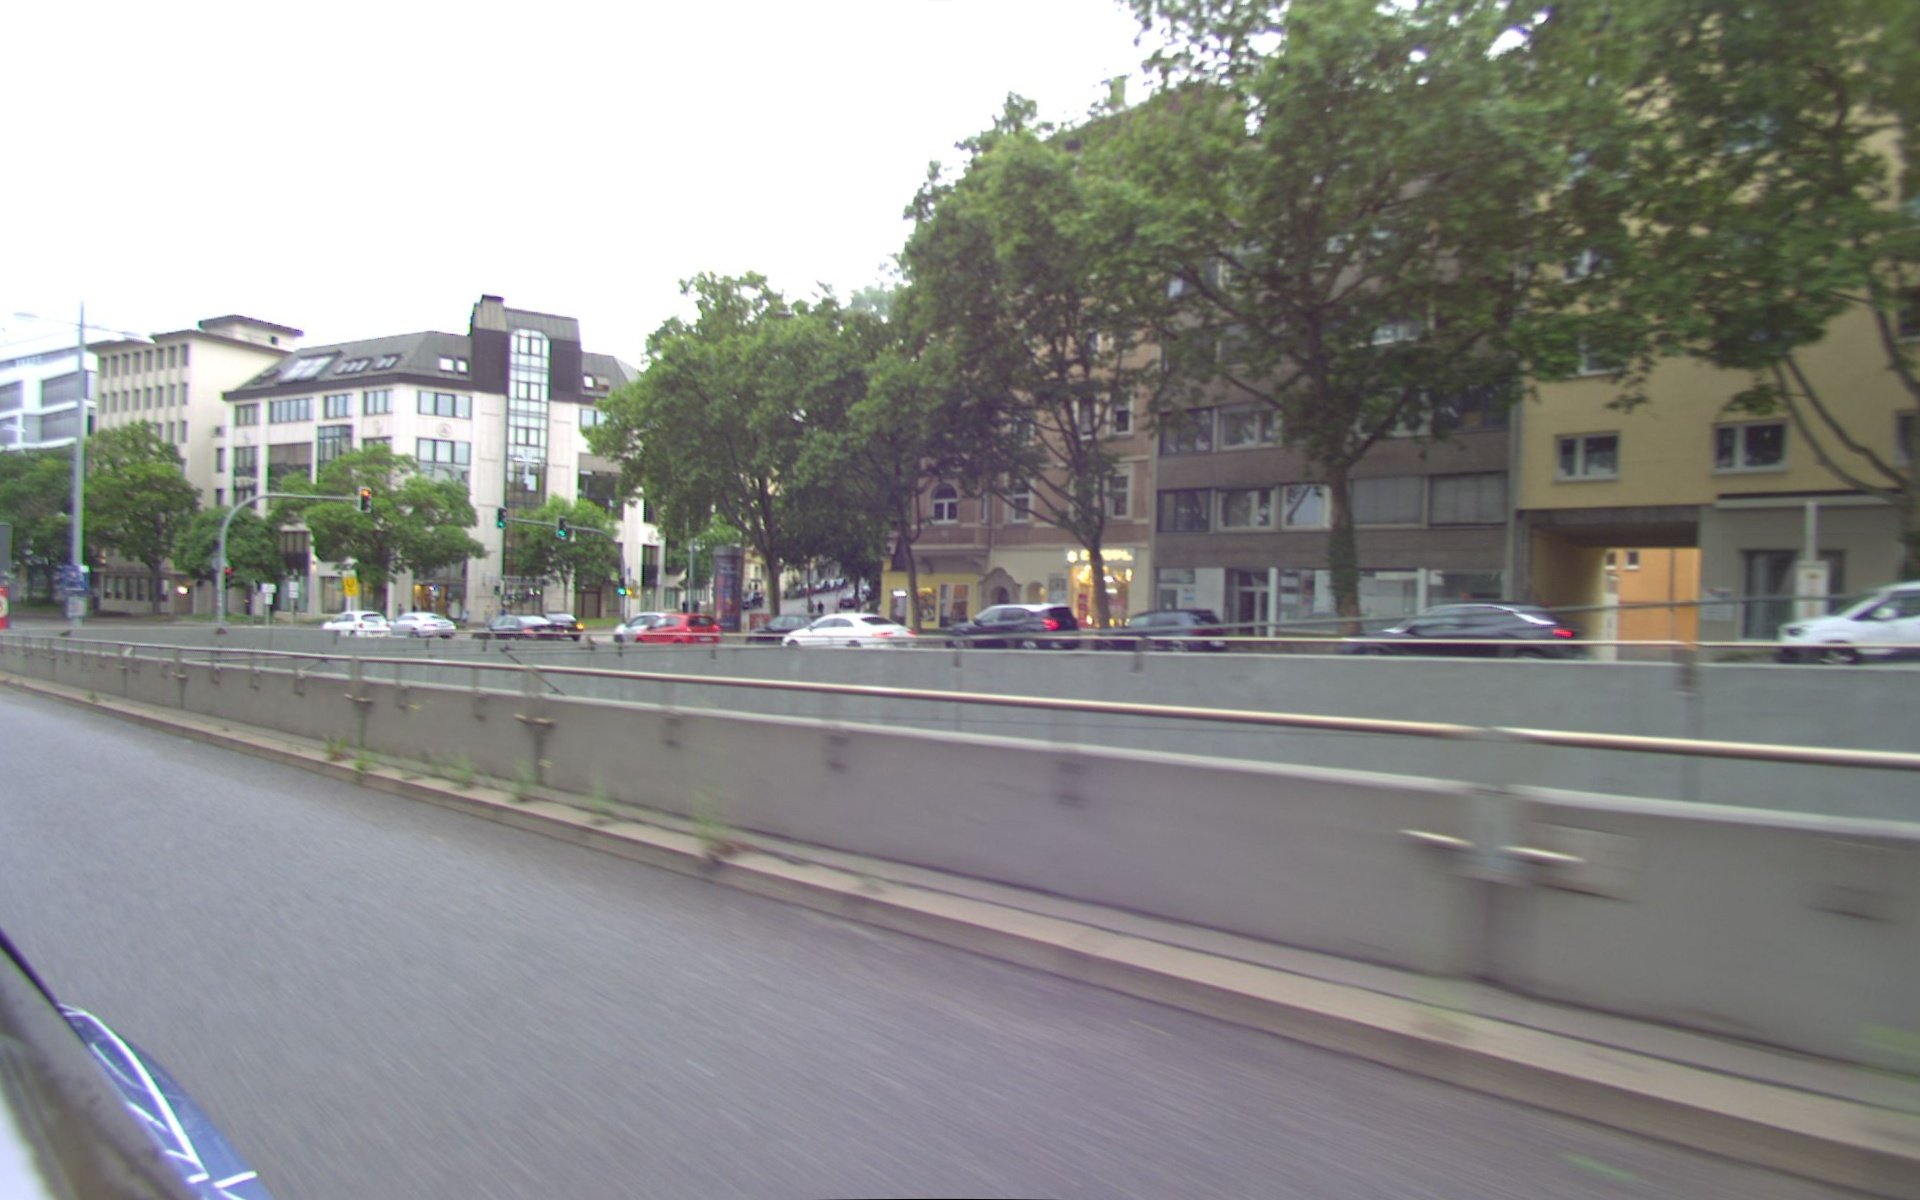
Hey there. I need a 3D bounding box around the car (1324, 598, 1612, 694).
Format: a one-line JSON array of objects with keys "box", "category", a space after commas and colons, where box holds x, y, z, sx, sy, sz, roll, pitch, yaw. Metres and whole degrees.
[{"box": [9.011, 0.735, 18.179, 4.343, 1.522, 1.775, 0, 0, 42], "category": "car"}]

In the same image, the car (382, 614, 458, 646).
[{"box": [-27.784, 1.510, 52.070, 3.988, 1.522, 1.780, 0, 0, 33], "category": "car"}]

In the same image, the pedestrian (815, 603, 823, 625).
[{"box": [-11.558, 1.129, 83.058, 0.623, 1.822, 0.675, 0, 0, -8], "category": "pedestrian"}]

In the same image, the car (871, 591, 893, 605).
[{"box": [-9.247, -0.234, 120.071, 1.779, 1.521, 3.990, -1, 1, 8], "category": "car"}]

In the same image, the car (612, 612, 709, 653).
[{"box": [-12.070, 1.271, 40.656, 3.994, 1.522, 1.777, 0, 0, 38], "category": "car"}]

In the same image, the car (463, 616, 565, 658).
[{"box": [-18.254, 1.458, 41.347, 4.829, 1.569, 1.777, 0, 0, 38], "category": "car"}]

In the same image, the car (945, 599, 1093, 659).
[{"box": [1.655, 0.814, 29.284, 4.015, 1.592, 1.775, -2, -1, 42], "category": "car"}]

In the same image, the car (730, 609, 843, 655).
[{"box": [-6.215, 1.101, 36.059, 3.994, 1.522, 1.777, 0, 0, 38], "category": "car"}]

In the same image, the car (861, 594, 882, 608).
[{"box": [-10.048, 0.112, 115.276, 1.592, 1.473, 3.483, 0, 1, 8], "category": "car"}]

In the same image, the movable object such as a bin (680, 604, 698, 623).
[{"box": [-22.815, 1.131, 85.221, 1.332, 1.519, 1.073, 0, 0, -21], "category": "movable object such as a bin"}]

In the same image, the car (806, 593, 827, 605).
[{"box": [-17.945, -0.121, 126.675, 1.777, 1.521, 3.995, -1, 1, 4], "category": "car"}]

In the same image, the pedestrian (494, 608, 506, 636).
[{"box": [-30.856, 1.470, 67.889, 0.582, 1.822, 0.675, -1, 1, -44], "category": "pedestrian"}]

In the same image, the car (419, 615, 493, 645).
[{"box": [-27.433, 1.623, 55.053, 3.988, 1.522, 1.780, 0, -2, 33], "category": "car"}]

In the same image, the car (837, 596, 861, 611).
[{"box": [-11.088, 0.374, 101.642, 1.592, 1.473, 3.483, 0, 1, 8], "category": "car"}]

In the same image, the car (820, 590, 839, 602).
[{"box": [-17.091, -0.586, 132.573, 1.777, 1.521, 3.995, -1, 1, 4], "category": "car"}]

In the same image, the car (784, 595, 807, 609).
[{"box": [-18.862, 0.221, 116.058, 1.777, 1.521, 3.995, -1, 1, 4], "category": "car"}]

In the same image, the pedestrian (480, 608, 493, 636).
[{"box": [-31.524, 1.484, 67.390, 0.582, 1.822, 0.675, -1, 1, -44], "category": "pedestrian"}]

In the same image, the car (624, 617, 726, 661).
[{"box": [-9.978, 1.313, 35.327, 3.878, 1.411, 1.568, 0, 0, 41], "category": "car"}]

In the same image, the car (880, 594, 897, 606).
[{"box": [-8.946, -0.038, 127.048, 1.590, 1.473, 3.487, 0, 1, 5], "category": "car"}]

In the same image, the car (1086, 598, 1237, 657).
[{"box": [5.667, 0.764, 28.856, 1.674, 1.562, 4.070, -1, -1, -39], "category": "car"}]

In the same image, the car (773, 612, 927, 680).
[{"box": [-3.282, 1.269, 29.518, 4.730, 1.783, 1.775, 0, 0, 42], "category": "car"}]

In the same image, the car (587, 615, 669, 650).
[{"box": [-15.535, 1.481, 47.274, 3.937, 1.521, 1.777, 0, 1, 38], "category": "car"}]

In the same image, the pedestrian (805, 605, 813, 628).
[{"box": [-12.355, 1.349, 82.989, 0.623, 1.822, 0.675, 0, 0, -8], "category": "pedestrian"}]

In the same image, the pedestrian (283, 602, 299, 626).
[{"box": [-51.128, 1.094, 77.320, 0.614, 1.798, 0.826, 0, 1, 32], "category": "pedestrian"}]

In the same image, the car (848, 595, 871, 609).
[{"box": [-10.580, 0.216, 106.800, 1.592, 1.473, 3.483, 0, 1, 8], "category": "car"}]

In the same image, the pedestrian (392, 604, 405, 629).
[{"box": [-40.182, 1.191, 72.441, 0.524, 1.798, 0.598, 0, 1, 32], "category": "pedestrian"}]

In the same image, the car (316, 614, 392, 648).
[{"box": [-29.843, 1.480, 49.811, 3.991, 1.573, 1.779, 0, 0, 35], "category": "car"}]

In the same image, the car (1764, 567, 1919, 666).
[{"box": [18.023, 0.285, 18.684, 4.893, 1.778, 1.859, -2, -1, 38], "category": "car"}]
